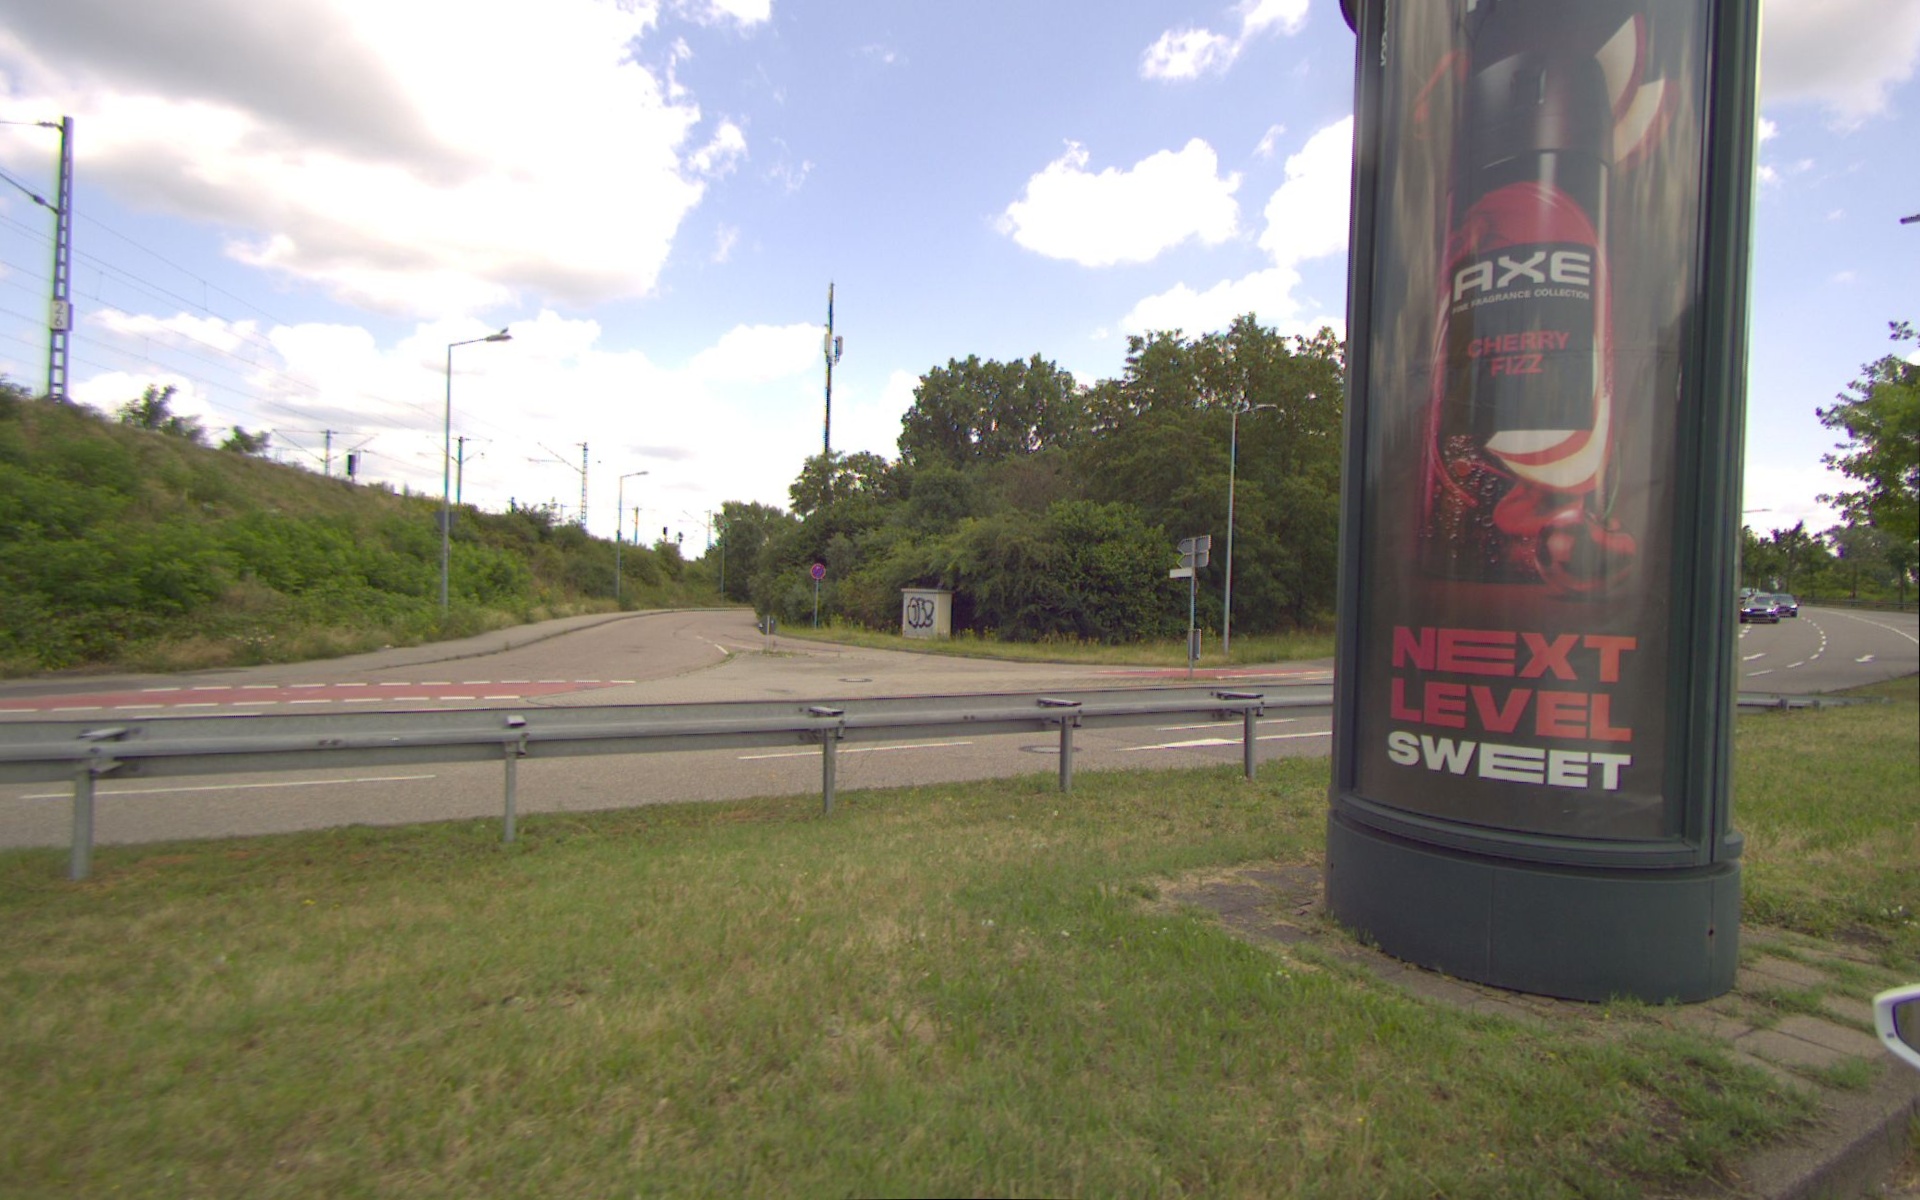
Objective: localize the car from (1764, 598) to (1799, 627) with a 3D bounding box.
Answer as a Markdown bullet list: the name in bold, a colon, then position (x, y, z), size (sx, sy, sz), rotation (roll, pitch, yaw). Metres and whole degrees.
- **car**: position (63.545, 0.956, 77.643), size (1.970, 2.041, 4.793), rotation (1, 2, 40)

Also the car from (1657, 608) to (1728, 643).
- **car**: position (34.623, 1.216, 47.431), size (4.301, 1.552, 1.975), rotation (2, -2, -43)

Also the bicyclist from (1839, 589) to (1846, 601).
- **bicyclist**: position (94.003, -0.551, 106.965), size (0.467, 1.183, 0.825), rotation (0, -1, 32)

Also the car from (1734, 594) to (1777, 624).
- **car**: position (53.638, 0.603, 67.800), size (1.967, 1.886, 4.700), rotation (1, 0, 35)
